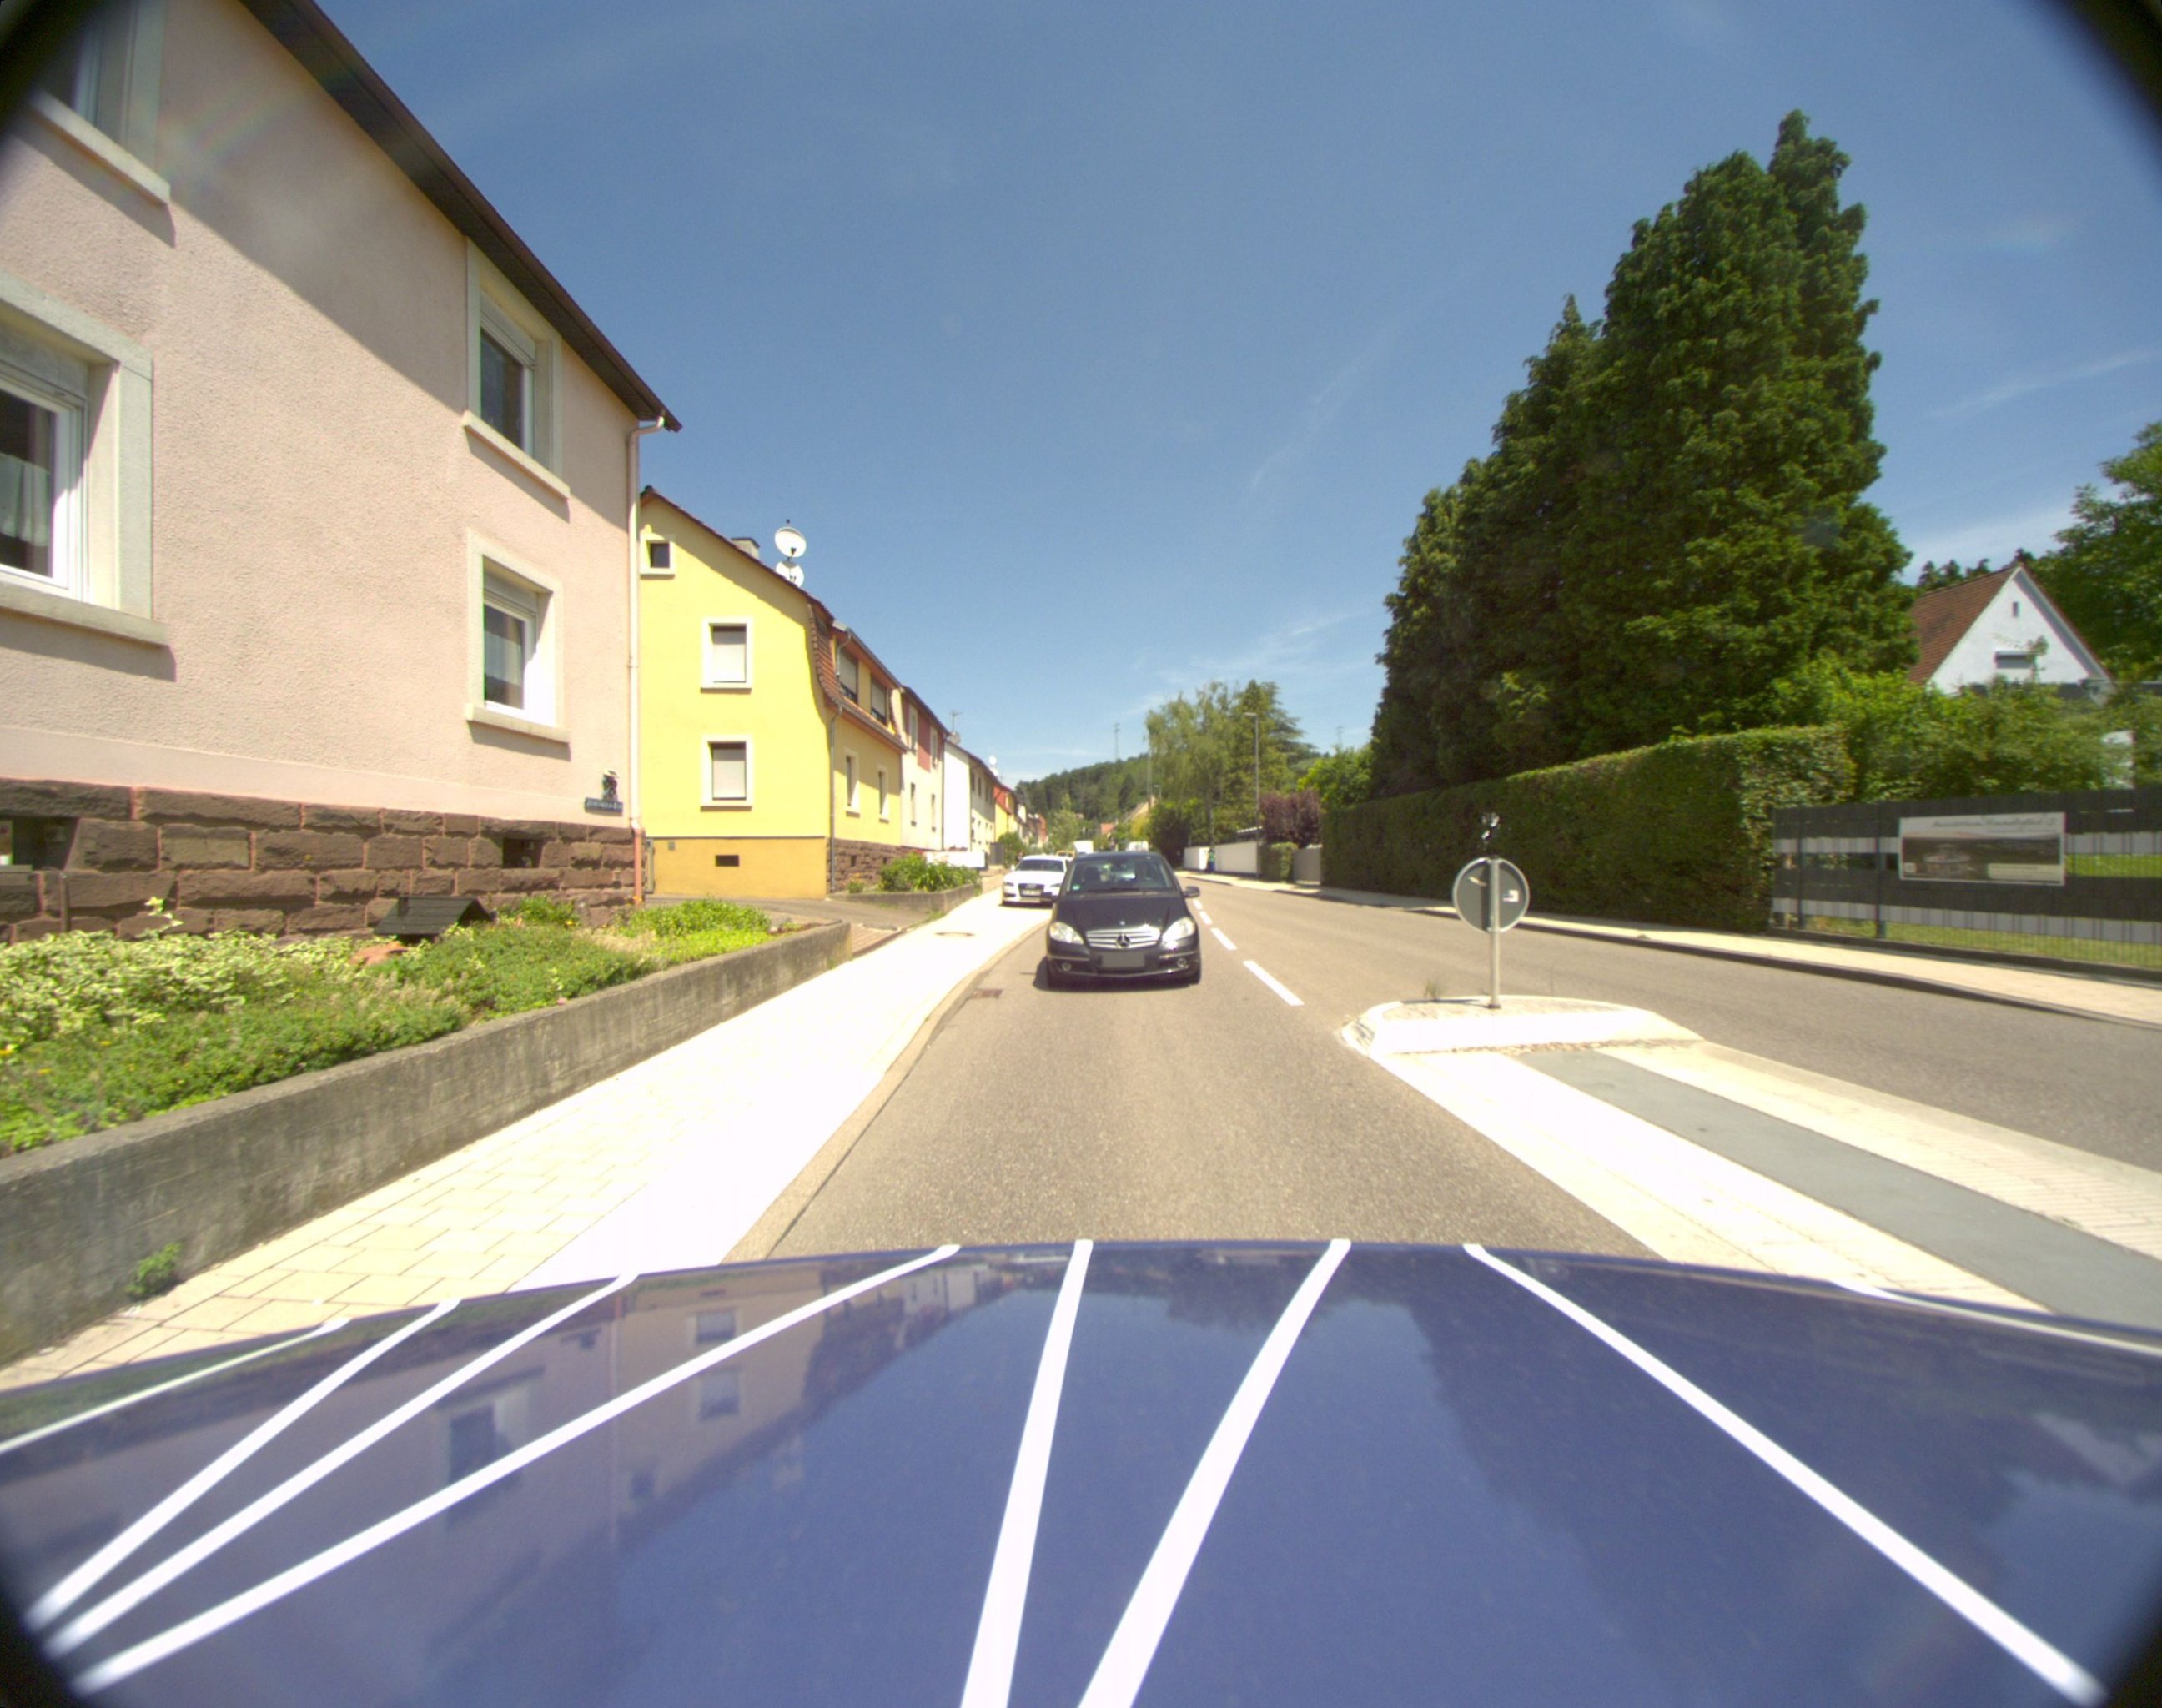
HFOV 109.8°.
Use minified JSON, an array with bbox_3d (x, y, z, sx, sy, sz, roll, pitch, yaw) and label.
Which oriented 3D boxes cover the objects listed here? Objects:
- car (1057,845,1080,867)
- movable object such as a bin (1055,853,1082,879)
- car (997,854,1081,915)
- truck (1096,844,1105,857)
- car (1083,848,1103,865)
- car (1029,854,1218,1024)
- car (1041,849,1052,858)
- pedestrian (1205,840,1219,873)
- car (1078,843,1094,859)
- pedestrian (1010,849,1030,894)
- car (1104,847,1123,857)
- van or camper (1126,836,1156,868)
[{"bbox_3d":[-1.299,0.171,75.893,2.195,2.002,5.620,1,1,-2],"label":"car"},{"bbox_3d":[-0.762,0.706,46.199,1.576,1.408,3.040,0,1,-2],"label":"movable object such as a bin"},{"bbox_3d":[-1.098,0.796,22.018,1.760,1.410,4.633,1,2,5],"label":"car"},{"bbox_3d":[5.718,-1.065,223.716,2.548,3.716,8.621,0,0,1],"label":"truck"},{"bbox_3d":[1.319,0.226,84.294,1.999,1.716,3.998,-3,1,-2],"label":"car"},{"bbox_3d":[0.421,0.829,9.838,1.767,1.572,4.930,-2,0,0],"label":"car"},{"bbox_3d":[-6.682,-0.092,147.001,1.867,1.612,4.507,2,1,0],"label":"car"},{"bbox_3d":[8.173,0.134,47.344,0.722,2.002,0.804,-2,2,3],"label":"pedestrian"},{"bbox_3d":[0.606,-0.437,104.555,1.987,2.170,3.998,-3,1,-1],"label":"car"},{"bbox_3d":[-2.809,0.787,35.221,0.748,2.002,1.033,-2,2,0],"label":"pedestrian"},{"bbox_3d":[6.729,-0.436,157.794,3.606,1.780,1.847,-3,1,-2],"label":"car"},{"bbox_3d":[5.323,-0.171,68.352,2.043,2.698,5.823,-1,1,-2],"label":"van or camper"}]
